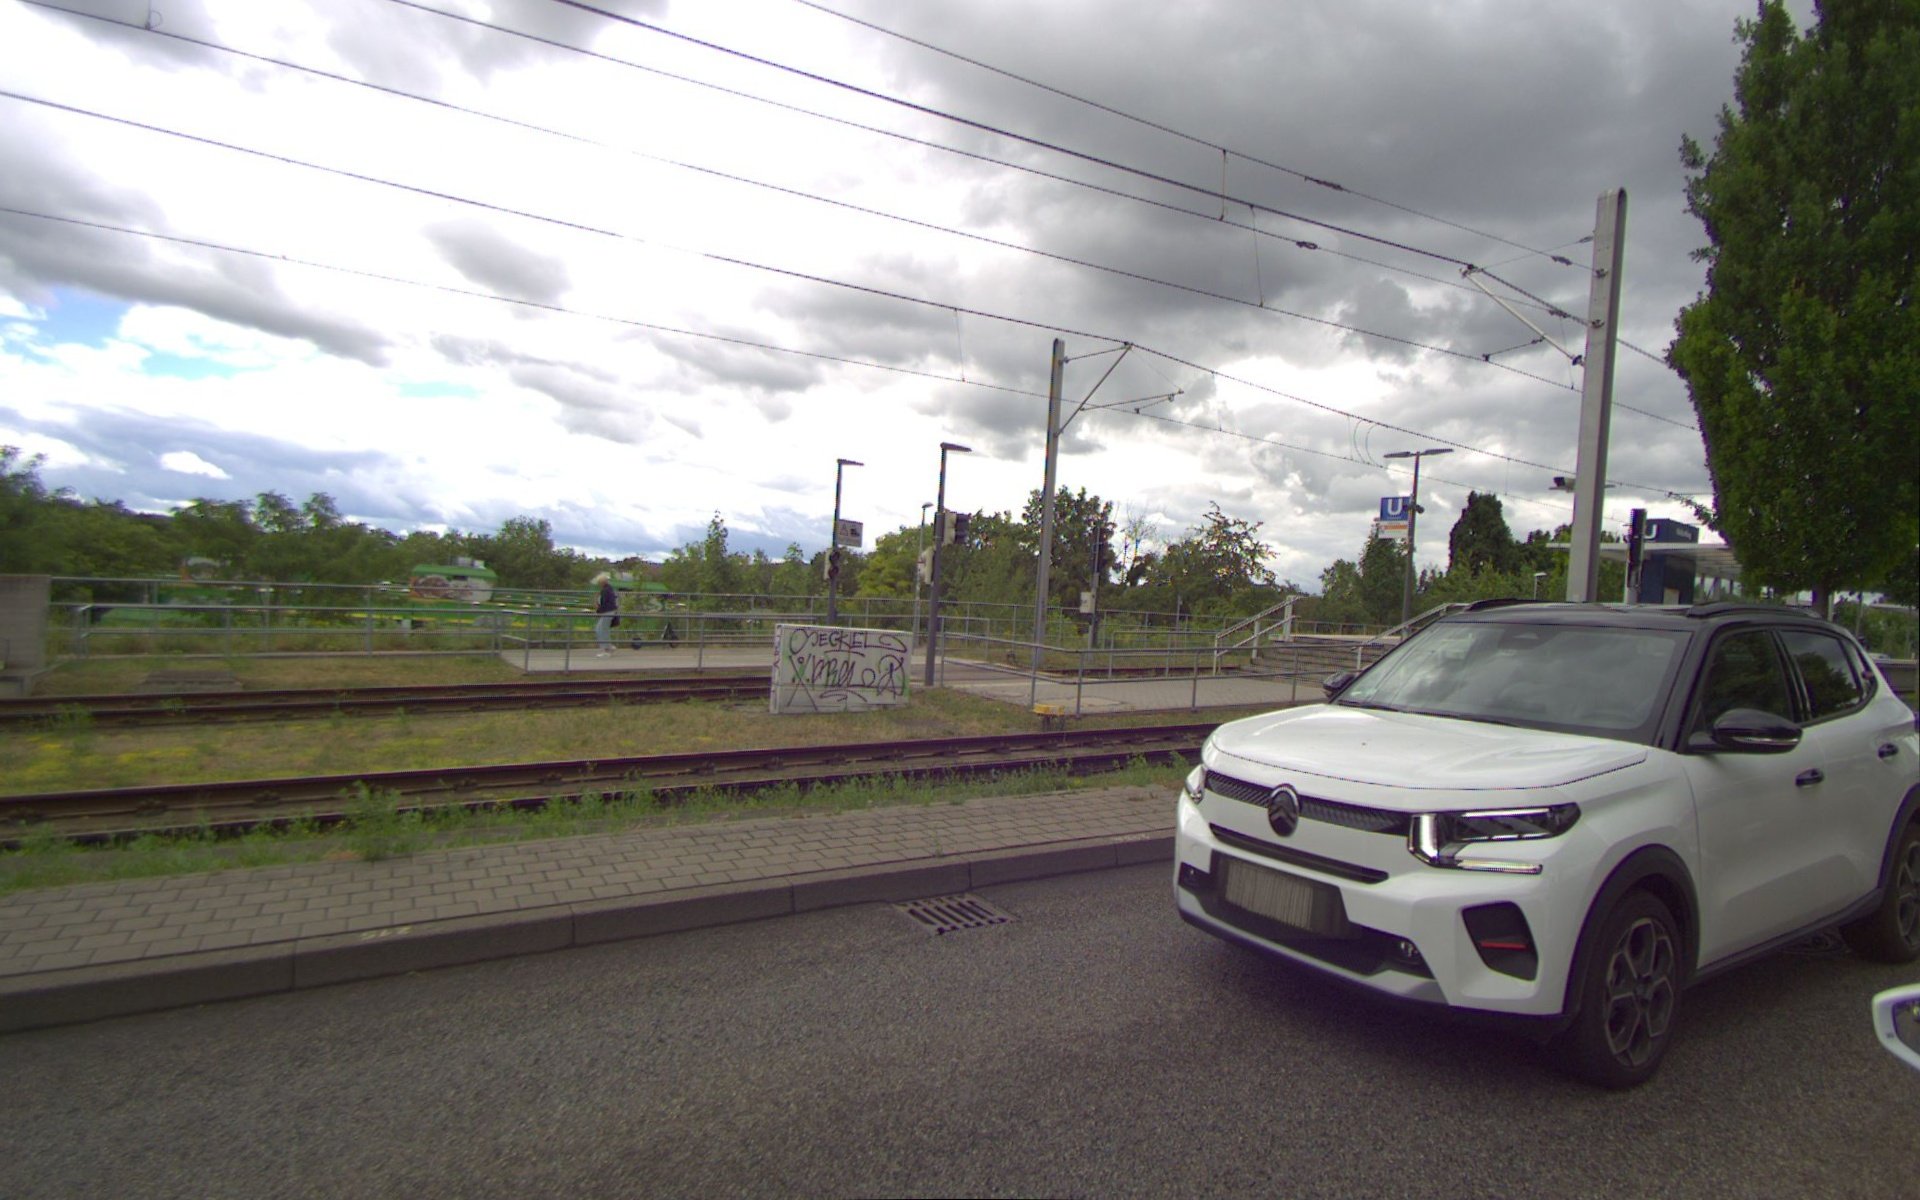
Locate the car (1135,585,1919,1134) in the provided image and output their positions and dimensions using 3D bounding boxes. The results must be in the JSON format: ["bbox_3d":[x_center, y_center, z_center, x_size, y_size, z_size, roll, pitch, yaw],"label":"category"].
[{"bbox_3d":[2.768,0.770,4.538,3.703,1.541,1.706,2,0,-32],"label":"car"}]

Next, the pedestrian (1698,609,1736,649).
[{"bbox_3d":[24.152,0.921,32.051,0.659,1.215,0.756,3,-1,-35],"label":"pedestrian"}]

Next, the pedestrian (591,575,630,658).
[{"bbox_3d":[-7.095,0.339,20.386,0.638,1.646,0.505,1,0,-30],"label":"pedestrian"}]

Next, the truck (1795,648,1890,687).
[{"bbox_3d":[95.285,7.211,108.617,2.660,3.647,7.205,2,0,-30],"label":"truck"}]

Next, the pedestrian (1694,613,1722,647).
[{"bbox_3d":[24.518,0.977,32.934,0.465,1.093,0.603,1,0,-35],"label":"pedestrian"}]
